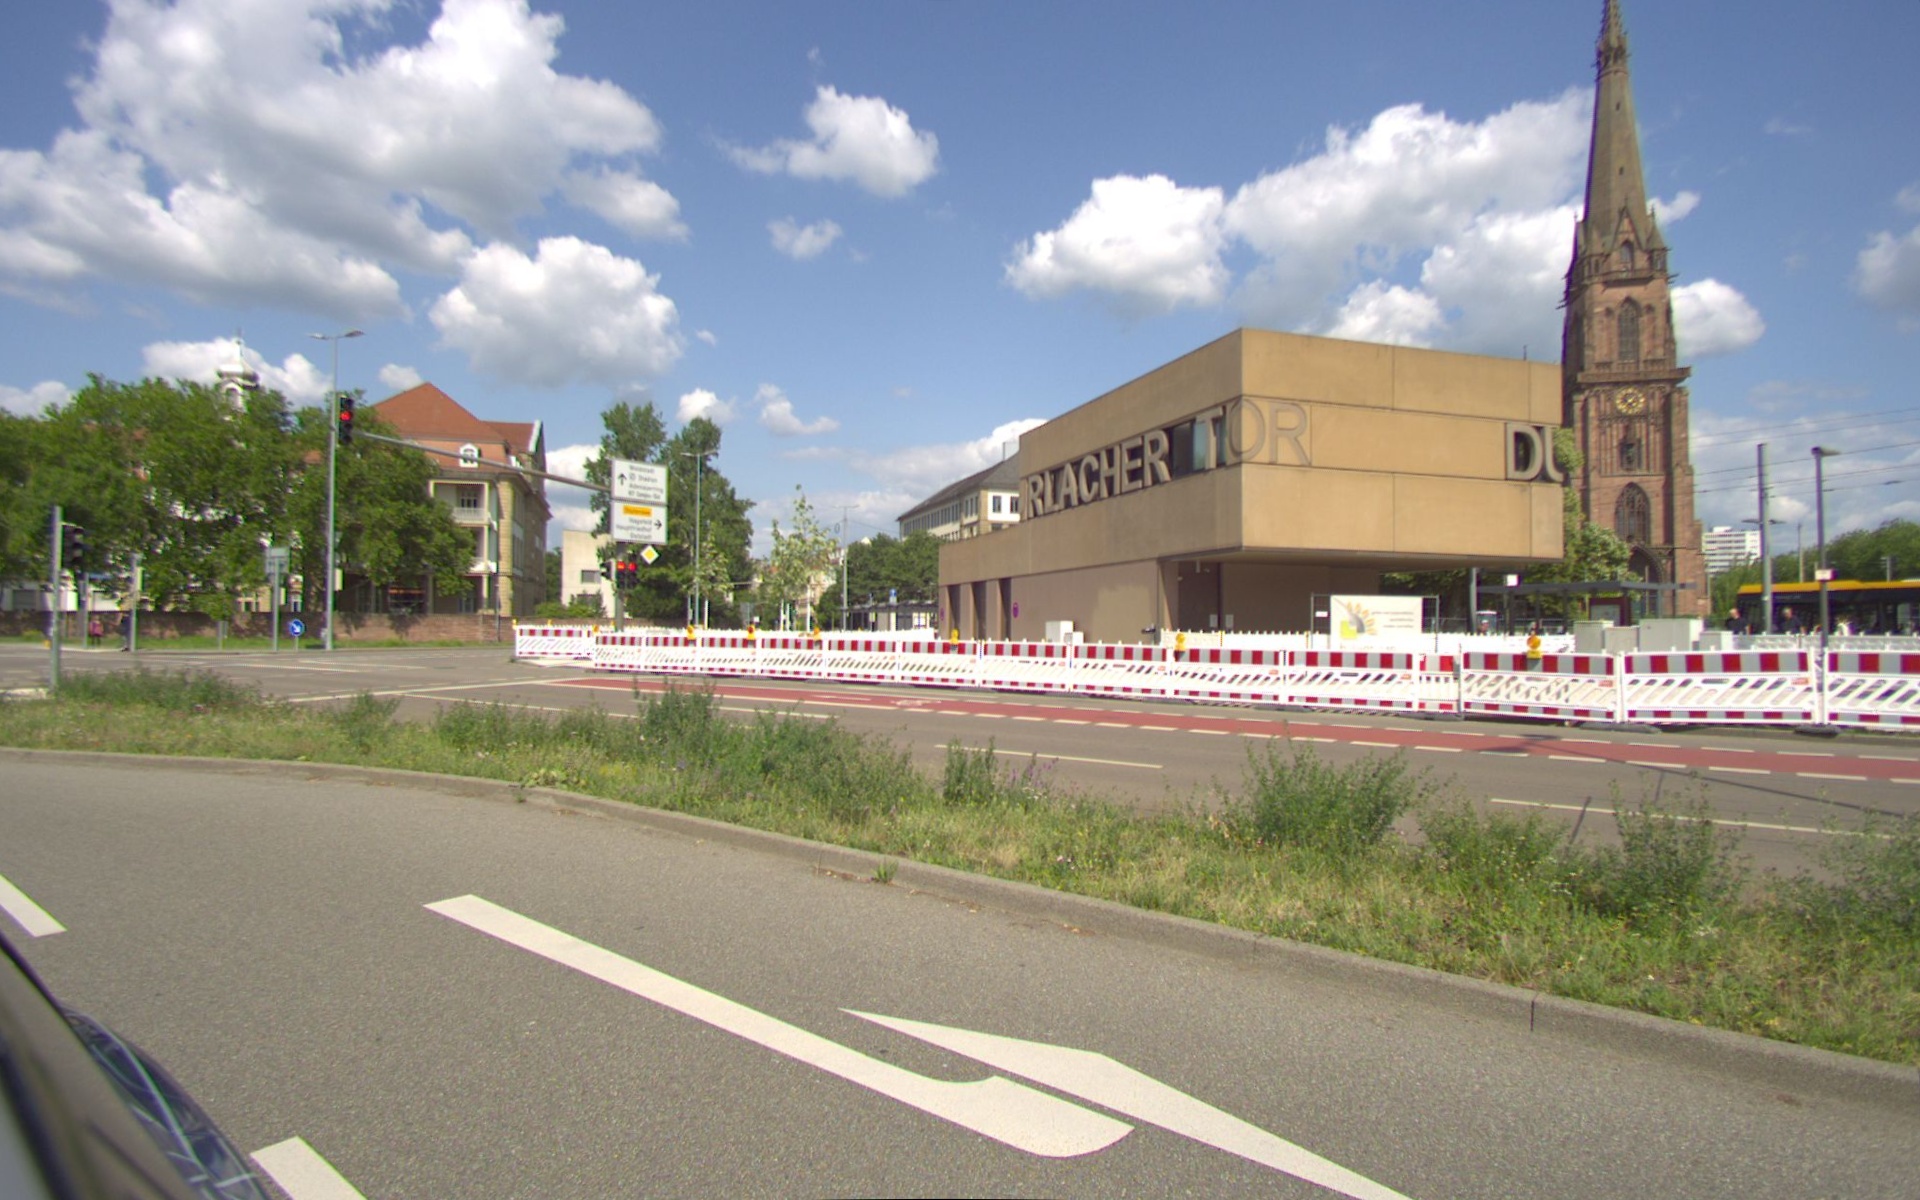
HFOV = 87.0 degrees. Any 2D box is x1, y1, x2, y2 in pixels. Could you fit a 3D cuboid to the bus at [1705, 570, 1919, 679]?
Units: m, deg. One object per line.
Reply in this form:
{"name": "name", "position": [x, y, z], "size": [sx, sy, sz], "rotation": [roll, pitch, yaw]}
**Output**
{"name": "bus", "position": [29.232, 0.701, 29.474], "size": [2.785, 3.160, 12.879], "rotation": [1, -2, -18]}

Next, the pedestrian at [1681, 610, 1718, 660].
{"name": "pedestrian", "position": [24.939, 1.176, 34.120], "size": [0.641, 1.644, 0.768], "rotation": [1, -2, -23]}

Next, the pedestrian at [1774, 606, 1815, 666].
{"name": "pedestrian", "position": [23.295, 0.994, 28.269], "size": [0.763, 1.644, 0.646], "rotation": [-1, -2, 30]}

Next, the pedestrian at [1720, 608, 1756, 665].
{"name": "pedestrian", "position": [22.924, 1.070, 29.831], "size": [0.720, 1.642, 0.561], "rotation": [1, -2, -27]}

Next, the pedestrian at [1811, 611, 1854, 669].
{"name": "pedestrian", "position": [25.233, 1.155, 29.284], "size": [0.752, 1.644, 0.655], "rotation": [1, -2, -24]}

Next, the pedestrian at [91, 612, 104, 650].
{"name": "pedestrian", "position": [-40.077, 1.439, 47.040], "size": [0.450, 1.745, 0.365], "rotation": [-1, 0, 37]}

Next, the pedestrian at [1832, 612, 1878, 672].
{"name": "pedestrian", "position": [24.819, 1.164, 28.077], "size": [0.752, 1.644, 0.655], "rotation": [1, -2, -21]}

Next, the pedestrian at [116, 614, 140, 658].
{"name": "pedestrian", "position": [-38.371, 1.653, 46.672], "size": [0.616, 2.009, 0.579], "rotation": [-1, 0, 13]}
